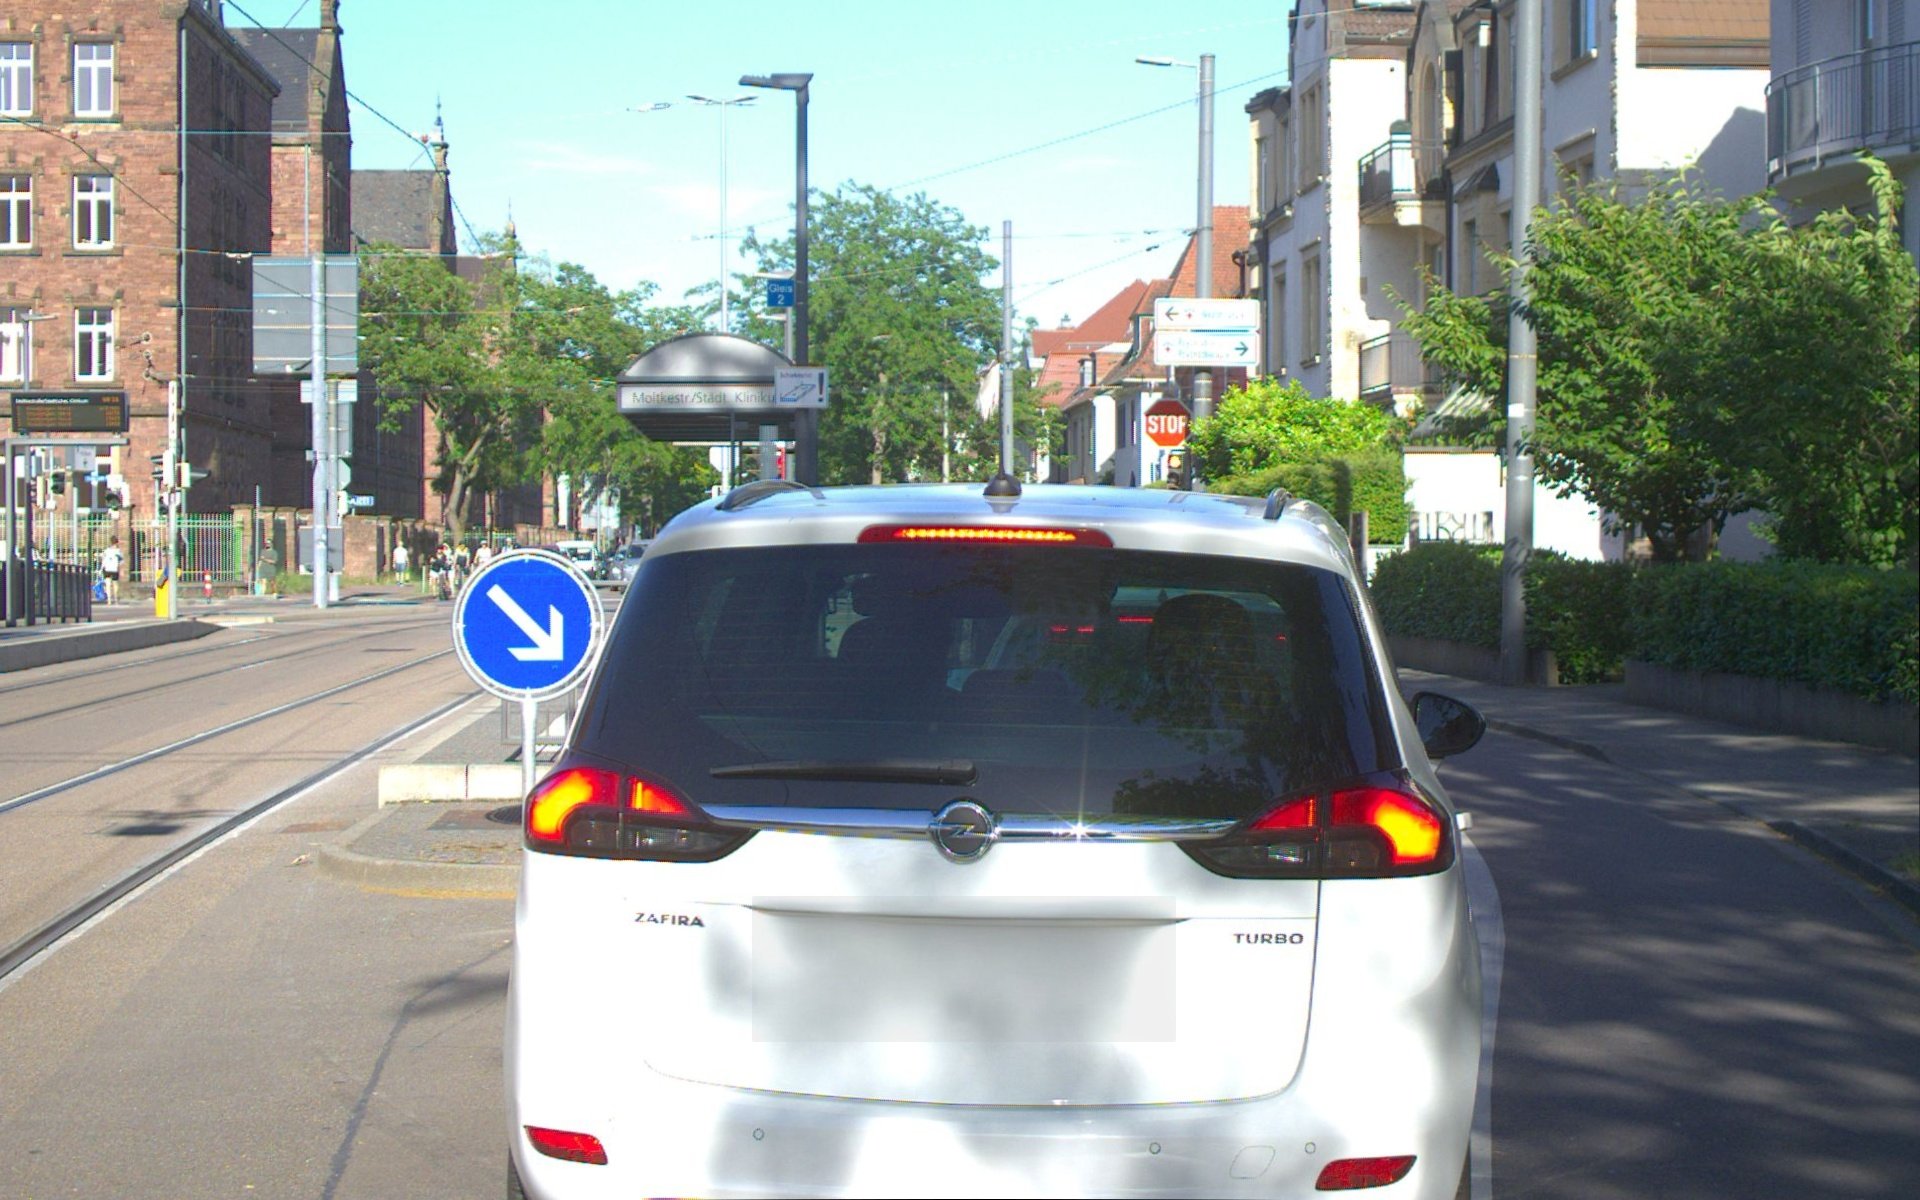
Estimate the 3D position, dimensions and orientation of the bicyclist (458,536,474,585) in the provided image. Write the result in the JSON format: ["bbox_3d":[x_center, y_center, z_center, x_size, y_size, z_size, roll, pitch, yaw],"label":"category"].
[{"bbox_3d":[-15.686,-1.245,109.154,0.444,1.548,0.496,0,1,-4],"label":"bicyclist"}]

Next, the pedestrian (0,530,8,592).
[{"bbox_3d":[-24.666,-0.999,87.489,0.802,1.583,0.935,1,0,-13],"label":"pedestrian"}]

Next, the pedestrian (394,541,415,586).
[{"bbox_3d":[-21.310,-1.418,132.004,0.734,1.708,0.754,1,0,-6],"label":"pedestrian"}]

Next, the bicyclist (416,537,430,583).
[{"bbox_3d":[-17.978,-1.338,115.100,0.444,1.548,0.496,0,1,-4],"label":"bicyclist"}]

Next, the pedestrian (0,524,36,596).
[{"bbox_3d":[-22.523,-0.951,81.663,0.843,1.686,1.029,1,0,-1],"label":"pedestrian"}]

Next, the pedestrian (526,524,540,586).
[{"bbox_3d":[-13.904,-1.479,111.953,0.444,2.007,0.496,0,1,-4],"label":"pedestrian"}]

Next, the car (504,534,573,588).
[{"bbox_3d":[-13.114,-1.227,107.091,1.993,1.623,4.001,0,1,-5],"label":"car"}]

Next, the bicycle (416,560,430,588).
[{"bbox_3d":[-17.983,-0.872,115.144,0.344,0.946,0.997,1,0,-4],"label":"bicycle"}]

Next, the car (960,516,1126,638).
[{"bbox_3d":[1.018,-0.320,44.302,1.993,1.497,4.000,0,1,-1],"label":"car"}]

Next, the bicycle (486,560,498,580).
[{"bbox_3d":[-16.776,-1.078,123.192,0.344,0.722,0.997,1,1,-4],"label":"bicycle"}]

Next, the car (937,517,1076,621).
[{"bbox_3d":[0.665,-0.489,51.762,1.993,1.497,4.000,0,1,-1],"label":"car"}]

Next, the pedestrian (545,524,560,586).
[{"bbox_3d":[-13.298,-1.473,112.254,0.444,2.007,0.496,0,1,-4],"label":"pedestrian"}]

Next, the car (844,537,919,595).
[{"bbox_3d":[-2.270,-0.992,98.861,1.993,1.623,4.001,0,1,-4],"label":"car"}]

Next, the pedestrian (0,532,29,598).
[{"bbox_3d":[-23.019,-0.847,83.093,0.802,1.583,0.935,1,0,-3],"label":"pedestrian"}]

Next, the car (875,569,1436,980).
[{"bbox_3d":[0.741,0.589,13.985,1.953,1.392,4.000,0,1,2],"label":"car"}]

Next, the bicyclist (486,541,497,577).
[{"bbox_3d":[-16.777,-1.462,123.154,0.359,1.299,0.398,0,1,-4],"label":"bicyclist"}]

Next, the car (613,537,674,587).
[{"bbox_3d":[-10.530,-1.273,114.420,1.993,1.623,4.001,0,1,-5],"label":"car"}]

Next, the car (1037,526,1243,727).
[{"bbox_3d":[1.491,0.178,29.258,1.637,1.595,3.854,0,1,2],"label":"car"}]

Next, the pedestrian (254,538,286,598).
[{"bbox_3d":[-19.639,-0.913,97.849,0.734,1.708,0.706,1,0,-1],"label":"pedestrian"}]

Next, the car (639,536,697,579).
[{"bbox_3d":[-11.076,-1.617,130.657,1.993,1.623,4.001,0,1,-2],"label":"car"}]

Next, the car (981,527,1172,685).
[{"bbox_3d":[1.173,0.024,36.182,1.830,1.574,4.010,0,1,-1],"label":"car"}]

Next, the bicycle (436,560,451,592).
[{"bbox_3d":[-15.481,-0.716,103.086,0.344,0.946,1.160,1,0,-4],"label":"bicycle"}]

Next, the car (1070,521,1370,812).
[{"bbox_3d":[1.489,0.330,20.830,1.637,1.595,3.854,0,1,2],"label":"car"}]

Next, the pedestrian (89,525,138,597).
[{"bbox_3d":[-20.196,-0.930,82.059,0.895,1.678,1.029,1,0,-1],"label":"pedestrian"}]

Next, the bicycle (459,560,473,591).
[{"bbox_3d":[-15.695,-0.781,109.168,0.344,0.946,0.997,1,0,-4],"label":"bicycle"}]

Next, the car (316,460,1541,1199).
[{"bbox_3d":[0.132,0.582,7.605,1.994,1.639,3.992,1,1,6],"label":"car"}]

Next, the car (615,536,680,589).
[{"bbox_3d":[-9.734,-1.190,107.314,1.993,1.623,4.001,0,1,-5],"label":"car"}]

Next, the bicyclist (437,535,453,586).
[{"bbox_3d":[-15.472,-1.185,103.287,0.444,1.548,0.743,0,1,-4],"label":"bicyclist"}]

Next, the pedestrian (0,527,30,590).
[{"bbox_3d":[-24.371,-1.066,87.750,0.933,1.583,0.804,1,0,23],"label":"pedestrian"}]
